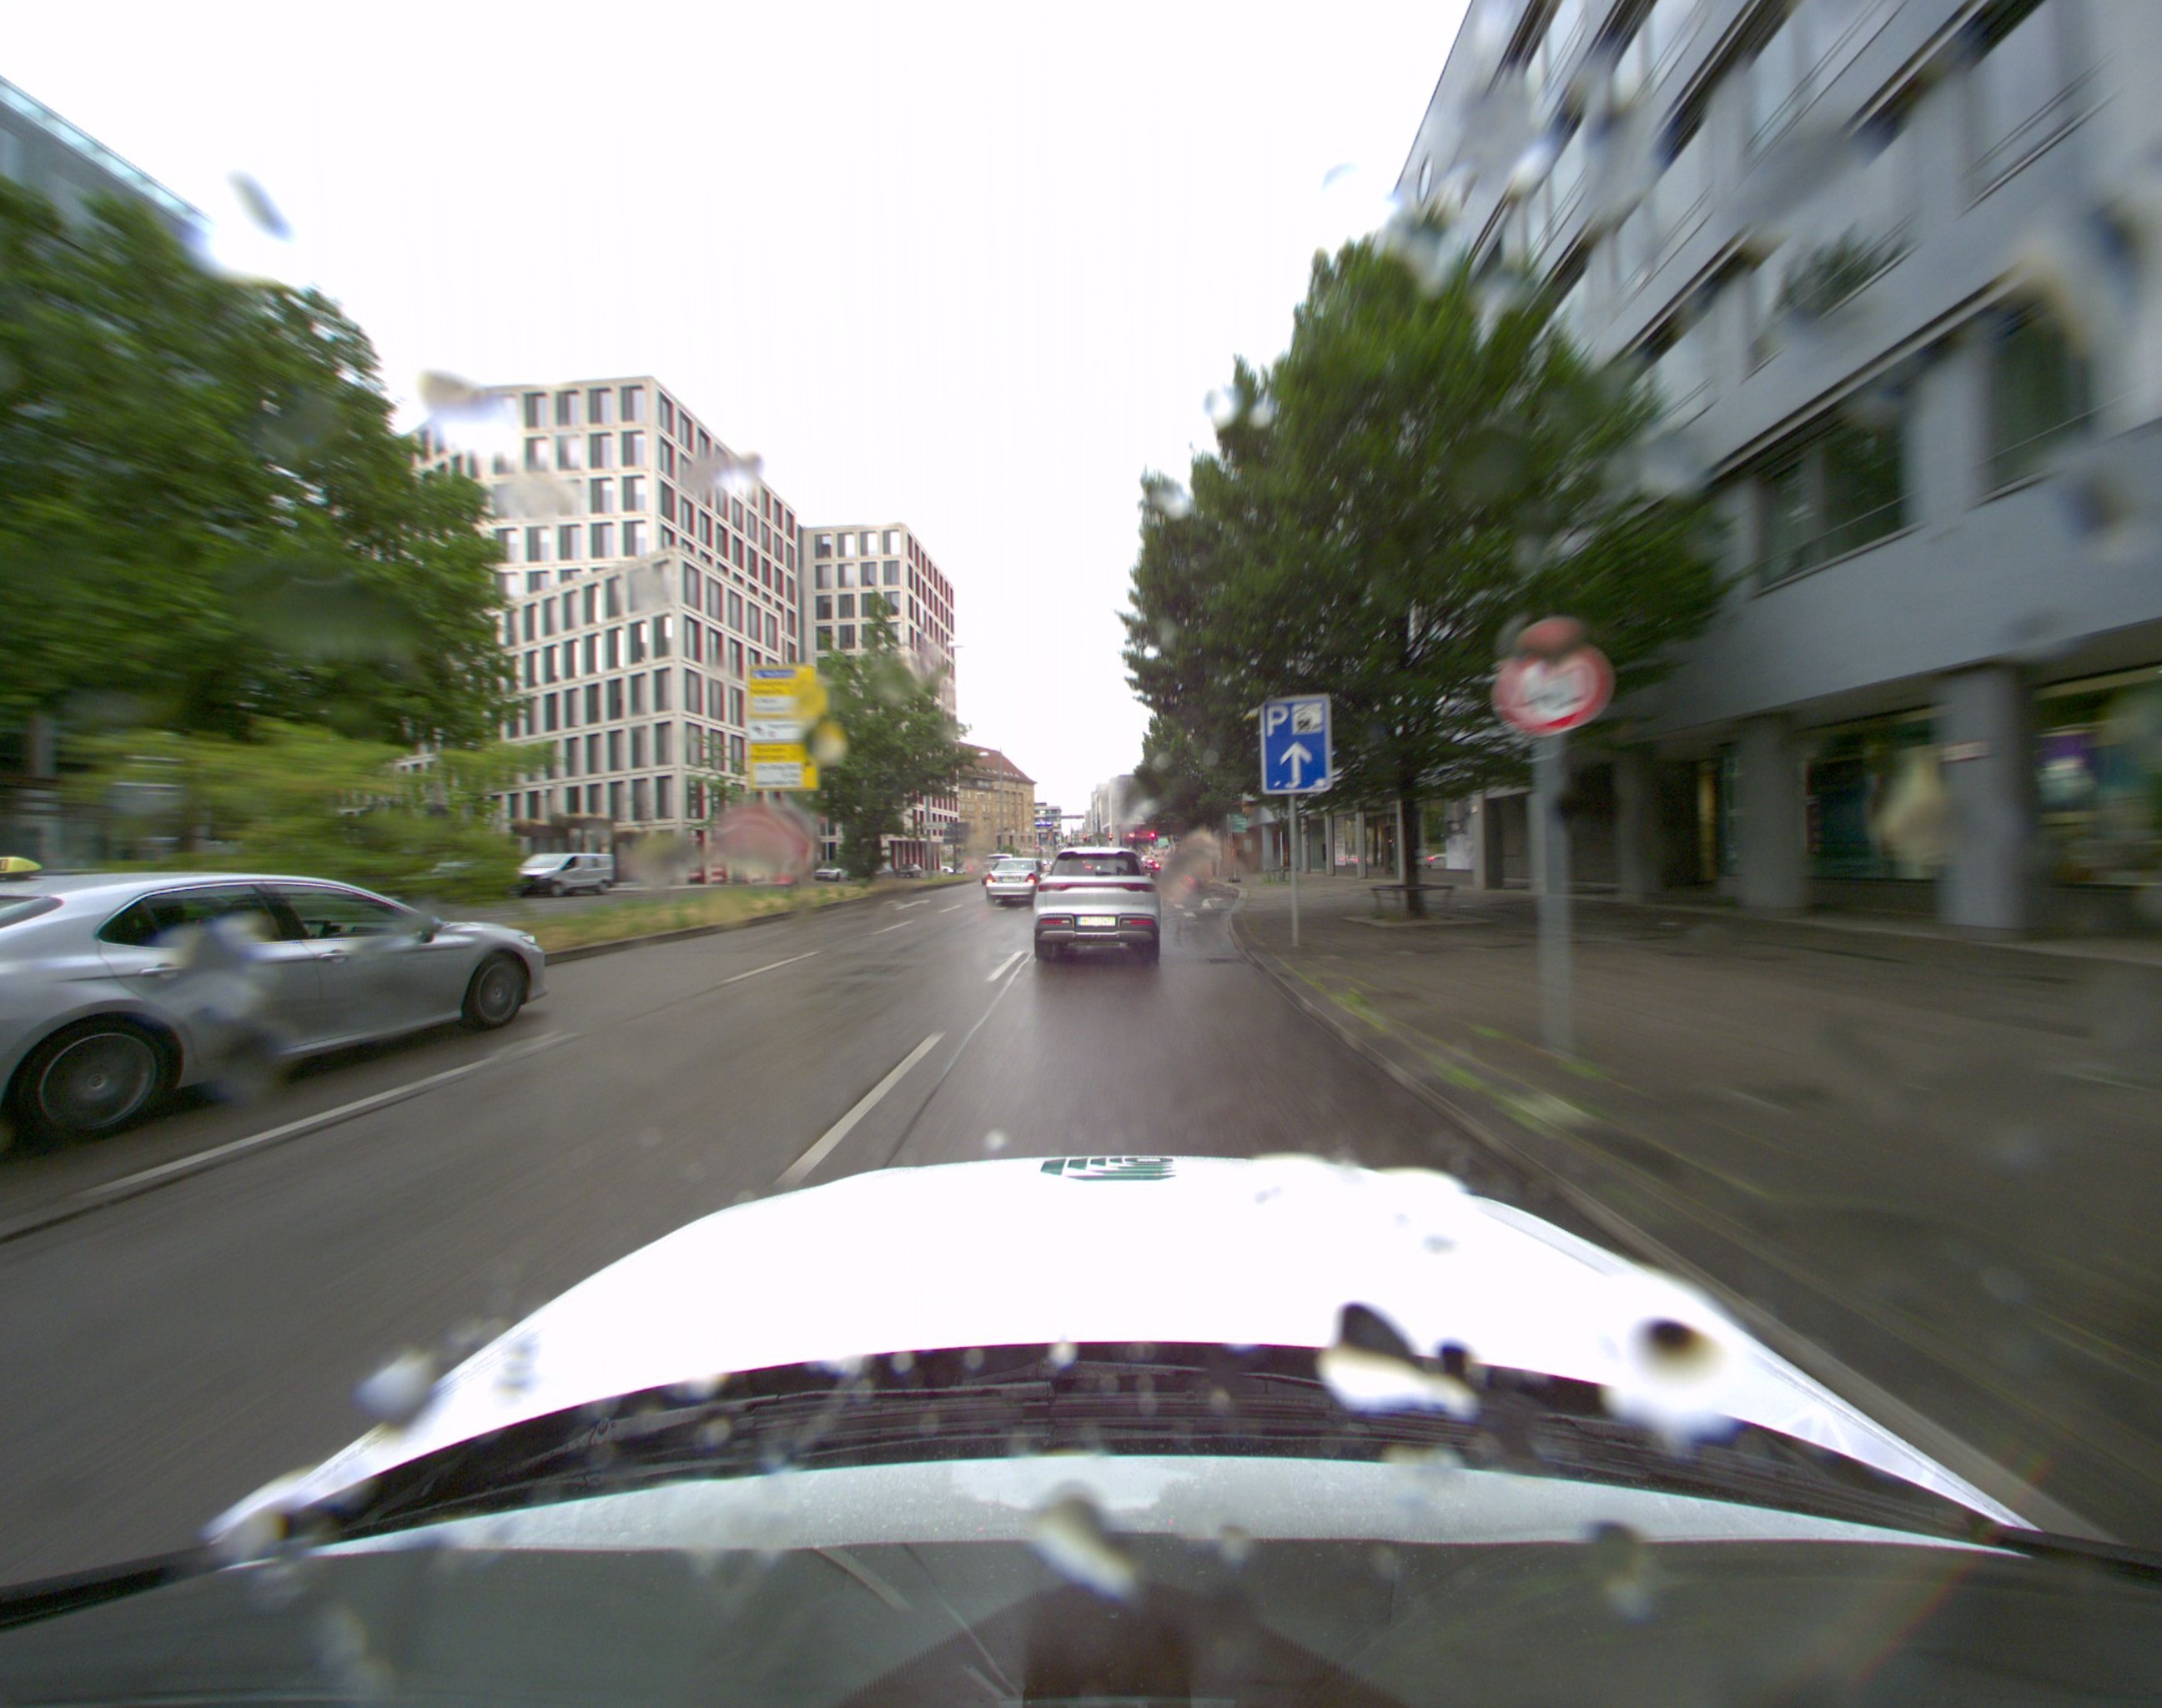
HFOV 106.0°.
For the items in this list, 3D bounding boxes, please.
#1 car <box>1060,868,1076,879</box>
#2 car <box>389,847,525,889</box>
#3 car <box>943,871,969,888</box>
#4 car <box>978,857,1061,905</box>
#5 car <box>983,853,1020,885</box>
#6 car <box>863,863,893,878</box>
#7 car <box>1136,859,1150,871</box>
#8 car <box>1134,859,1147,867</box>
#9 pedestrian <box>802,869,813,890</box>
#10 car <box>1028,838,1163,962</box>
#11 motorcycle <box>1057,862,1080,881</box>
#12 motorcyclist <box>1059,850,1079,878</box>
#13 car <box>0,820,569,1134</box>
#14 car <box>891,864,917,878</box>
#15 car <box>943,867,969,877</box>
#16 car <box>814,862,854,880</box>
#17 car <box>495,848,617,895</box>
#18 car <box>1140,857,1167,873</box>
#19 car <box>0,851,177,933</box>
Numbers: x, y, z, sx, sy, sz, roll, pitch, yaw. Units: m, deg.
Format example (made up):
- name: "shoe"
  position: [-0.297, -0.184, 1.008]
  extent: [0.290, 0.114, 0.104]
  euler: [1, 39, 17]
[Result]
- name: "car"
  position: [-1.714, 2.609, 108.288]
  extent: [1.775, 1.373, 3.998]
  euler: [0, -2, 5]
- name: "car"
  position: [-24.124, 0.555, 31.721]
  extent: [1.790, 1.529, 4.290]
  euler: [0, -2, 3]
- name: "car"
  position: [-12.106, 2.476, 79.036]
  extent: [1.820, 1.632, 4.871]
  euler: [0, -2, -1]
- name: "car"
  position: [-1.847, 0.852, 25.922]
  extent: [1.723, 1.404, 4.392]
  euler: [0, -2, 8]
- name: "car"
  position: [-4.200, 0.799, 43.350]
  extent: [1.728, 1.616, 3.996]
  euler: [0, -2, -2]
- name: "car"
  position: [-19.851, 1.598, 79.735]
  extent: [1.690, 1.424, 3.959]
  euler: [-2, -1, 4]
- name: "car"
  position: [8.504, 1.537, 111.279]
  extent: [1.774, 1.600, 4.494]
  euler: [0, -2, 7]
- name: "car"
  position: [14.218, 2.210, 195.132]
  extent: [1.998, 1.816, 3.977]
  euler: [0, -2, -16]
- name: "pedestrian"
  position: [-23.445, 2.177, 69.841]
  extent: [0.610, 1.734, 0.967]
  euler: [0, -2, 2]
- name: "car"
  position: [0.247, 0.665, 13.020]
  extent: [1.801, 1.661, 4.171]
  euler: [0, -2, 1]
- name: "motorcycle"
  position: [-0.651, 0.903, 42.587]
  extent: [0.937, 0.989, 2.297]
  euler: [0, -1, 5]
- name: "motorcyclist"
  position: [-0.641, 0.542, 42.828]
  extent: [0.937, 1.476, 1.102]
  euler: [0, -2, 5]
- name: "car"
  position: [-6.094, 0.643, 5.721]
  extent: [1.824, 1.521, 4.802]
  euler: [0, -2, 2]
- name: "car"
  position: [-19.274, 1.872, 88.924]
  extent: [1.690, 1.424, 3.959]
  euler: [-2, -1, 4]
- name: "car"
  position: [-21.390, 3.103, 139.113]
  extent: [4.385, 1.662, 1.991]
  euler: [0, -2, -13]
- name: "car"
  position: [-20.650, 1.422, 68.239]
  extent: [1.690, 1.424, 4.378]
  euler: [-2, -1, 4]
- name: "car"
  position: [-23.708, 0.808, 37.084]
  extent: [1.984, 2.014, 4.923]
  euler: [0, -2, 6]
- name: "car"
  position: [7.402, 1.175, 82.852]
  extent: [1.876, 1.544, 4.012]
  euler: [-1, -2, 19]
- name: "car"
  position: [-22.115, 0.748, 16.721]
  extent: [1.985, 1.618, 4.485]
  euler: [0, 0, 2]
